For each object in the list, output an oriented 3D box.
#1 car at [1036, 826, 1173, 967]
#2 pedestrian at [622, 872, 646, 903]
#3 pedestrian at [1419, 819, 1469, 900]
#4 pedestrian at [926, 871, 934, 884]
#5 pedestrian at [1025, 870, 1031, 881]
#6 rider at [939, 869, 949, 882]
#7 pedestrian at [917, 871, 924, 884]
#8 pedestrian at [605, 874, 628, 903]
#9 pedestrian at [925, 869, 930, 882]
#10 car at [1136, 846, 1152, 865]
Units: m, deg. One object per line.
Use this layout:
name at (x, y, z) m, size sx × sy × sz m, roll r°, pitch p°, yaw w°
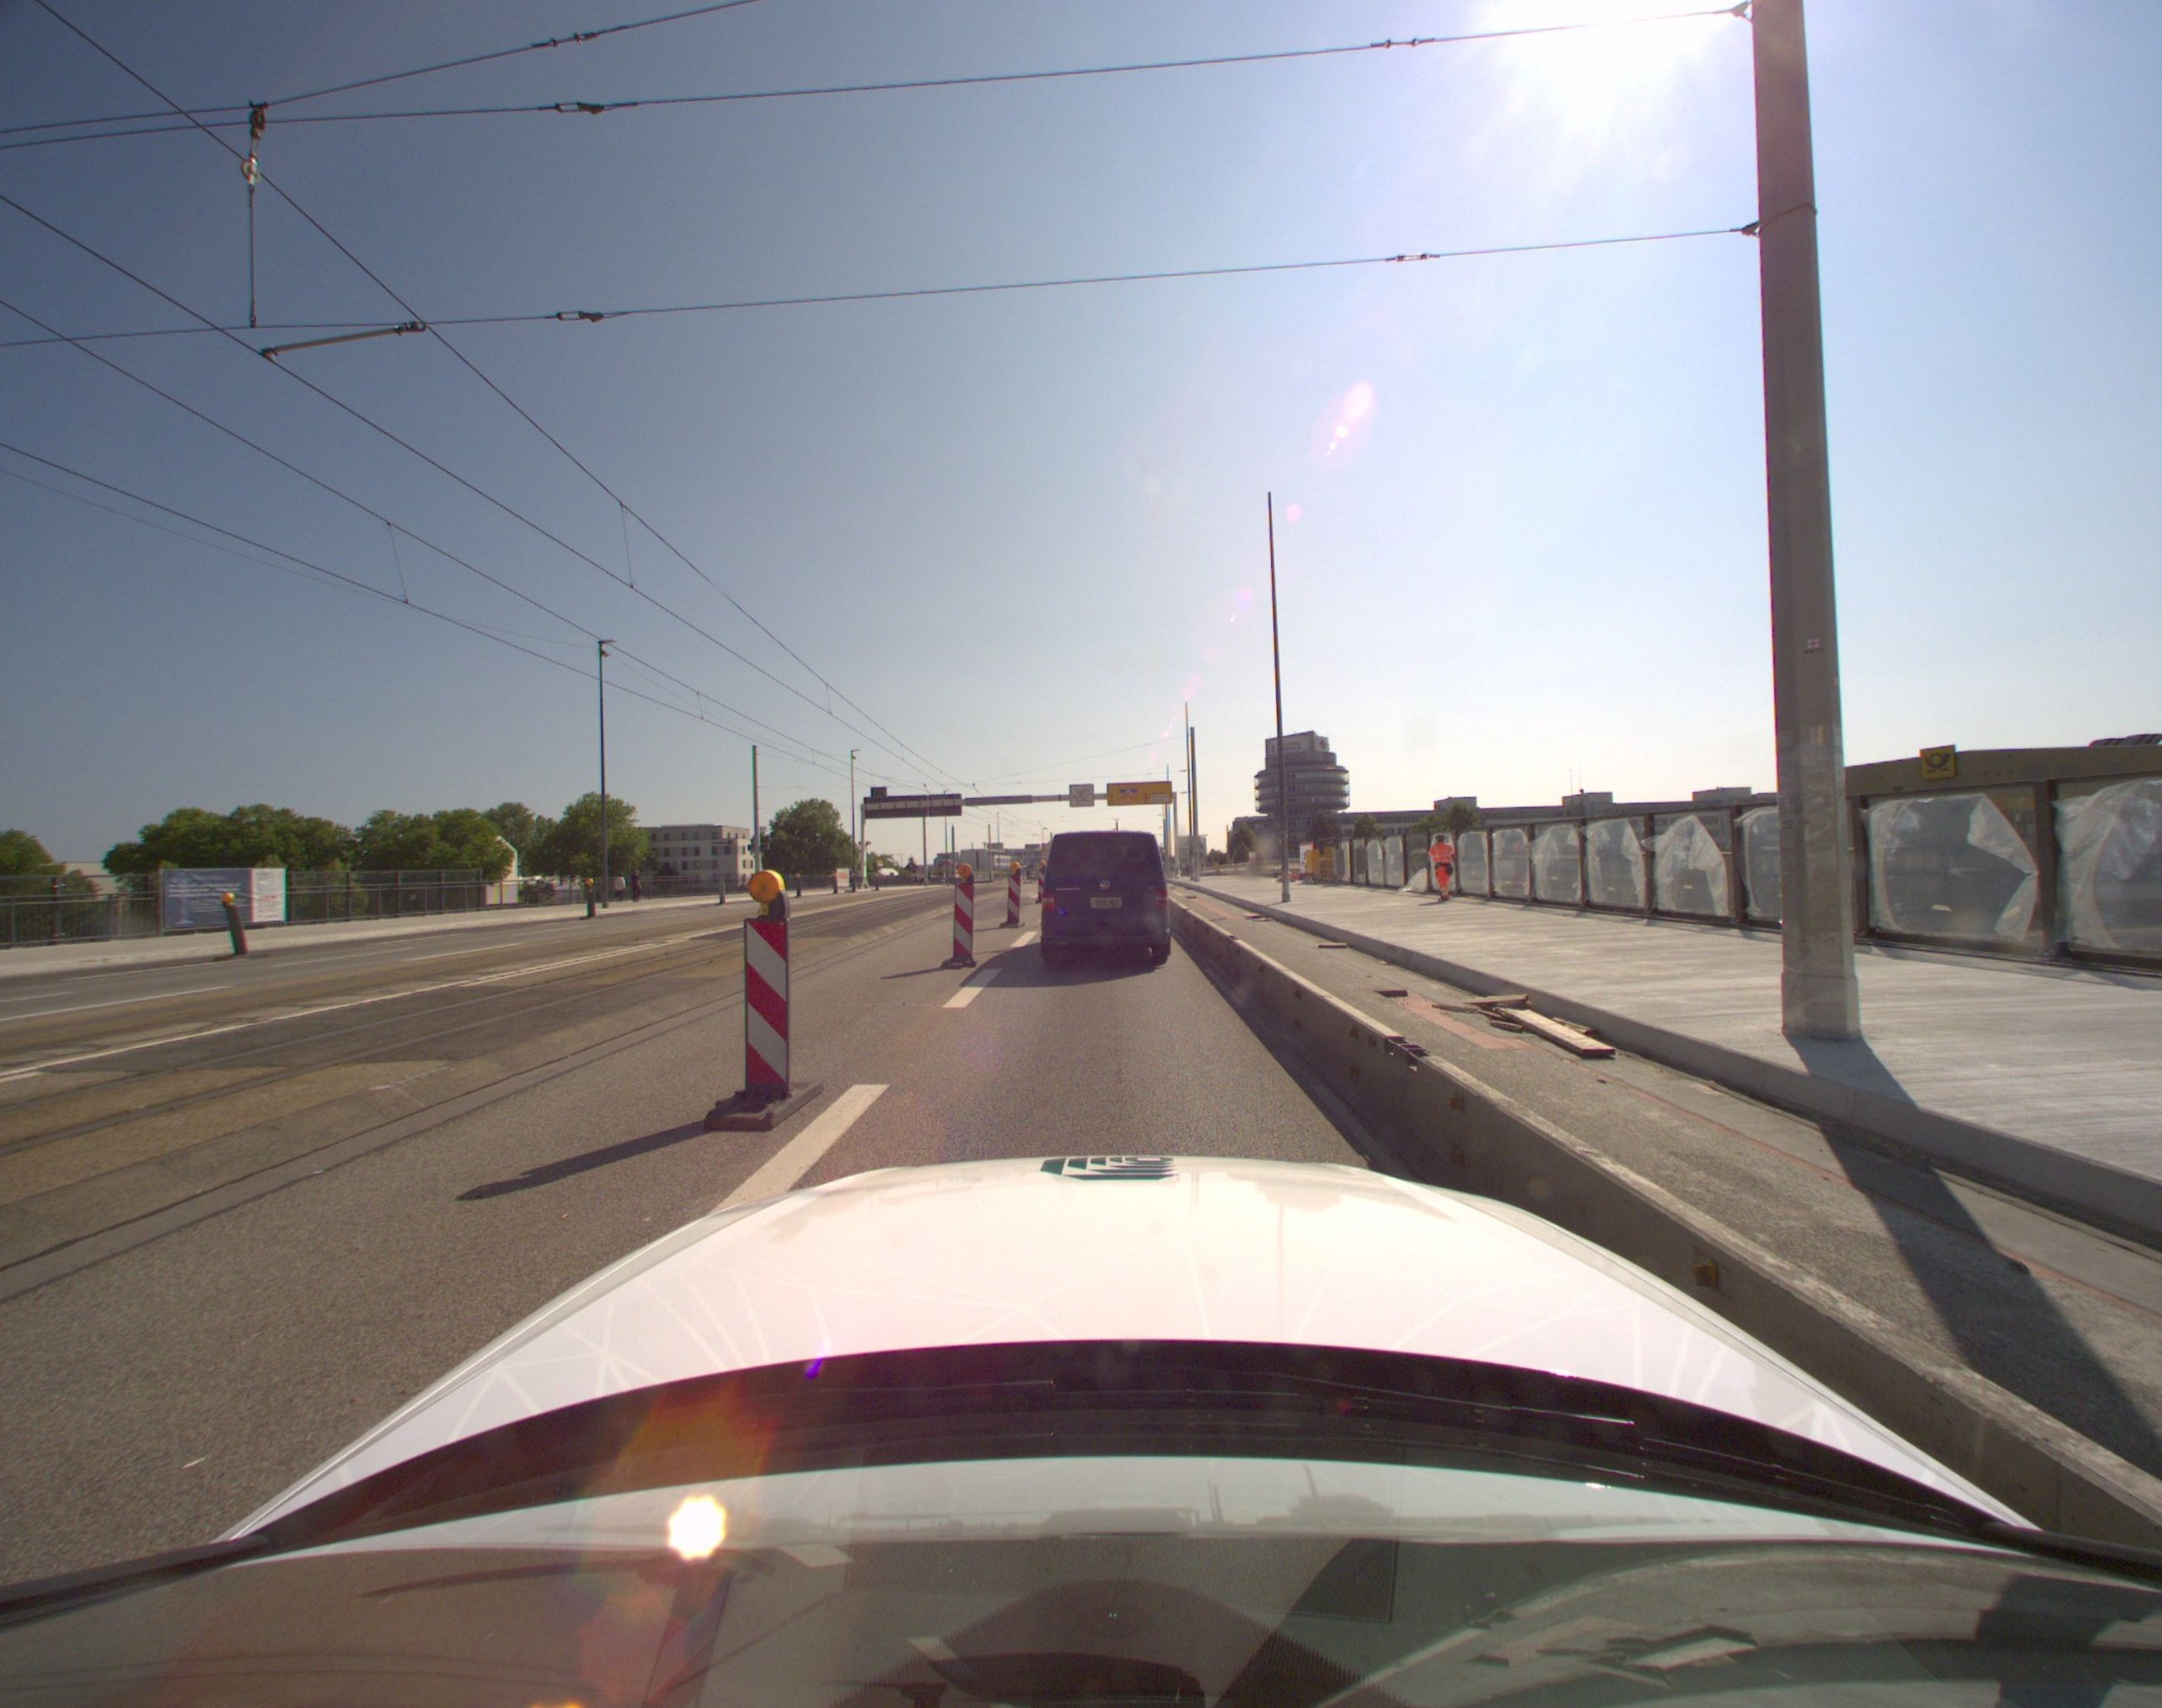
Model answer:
car at (0.385, 0.625, 13.226) m, size 1.881 × 1.934 × 4.001 m, roll 0°, pitch -1°, yaw 2°
pedestrian at (-24.029, 1.795, 43.798) m, size 0.741 × 1.642 × 0.895 m, roll 1°, pitch -1°, yaw 2°
pedestrian at (9.157, 0.148, 20.580) m, size 0.728 × 1.965 × 1.017 m, roll -3°, pitch -1°, yaw 2°
pedestrian at (-19.997, 3.152, 107.824) m, size 0.749 × 1.687 × 0.733 m, roll -2°, pitch -1°, yaw 5°
pedestrian at (-7.762, 3.187, 119.360) m, size 0.655 × 1.654 × 0.742 m, roll -2°, pitch -2°, yaw 16°
rider at (-18.293, 2.842, 108.792) m, size 0.760 × 1.733 × 2.952 m, roll -1°, pitch -1°, yaw 2°
pedestrian at (-20.668, 3.065, 104.883) m, size 0.594 × 1.687 × 0.819 m, roll -2°, pitch -1°, yaw 5°
pedestrian at (-25.027, 1.858, 43.894) m, size 0.717 × 1.544 × 0.889 m, roll 1°, pitch -1°, yaw 2°
pedestrian at (-19.852, 2.759, 105.335) m, size 0.483 × 1.687 × 0.809 m, roll -2°, pitch -1°, yaw 5°
car at (10.040, 0.254, 129.915) m, size 2.329 × 2.887 × 5.975 m, roll -1°, pitch -1°, yaw 3°
